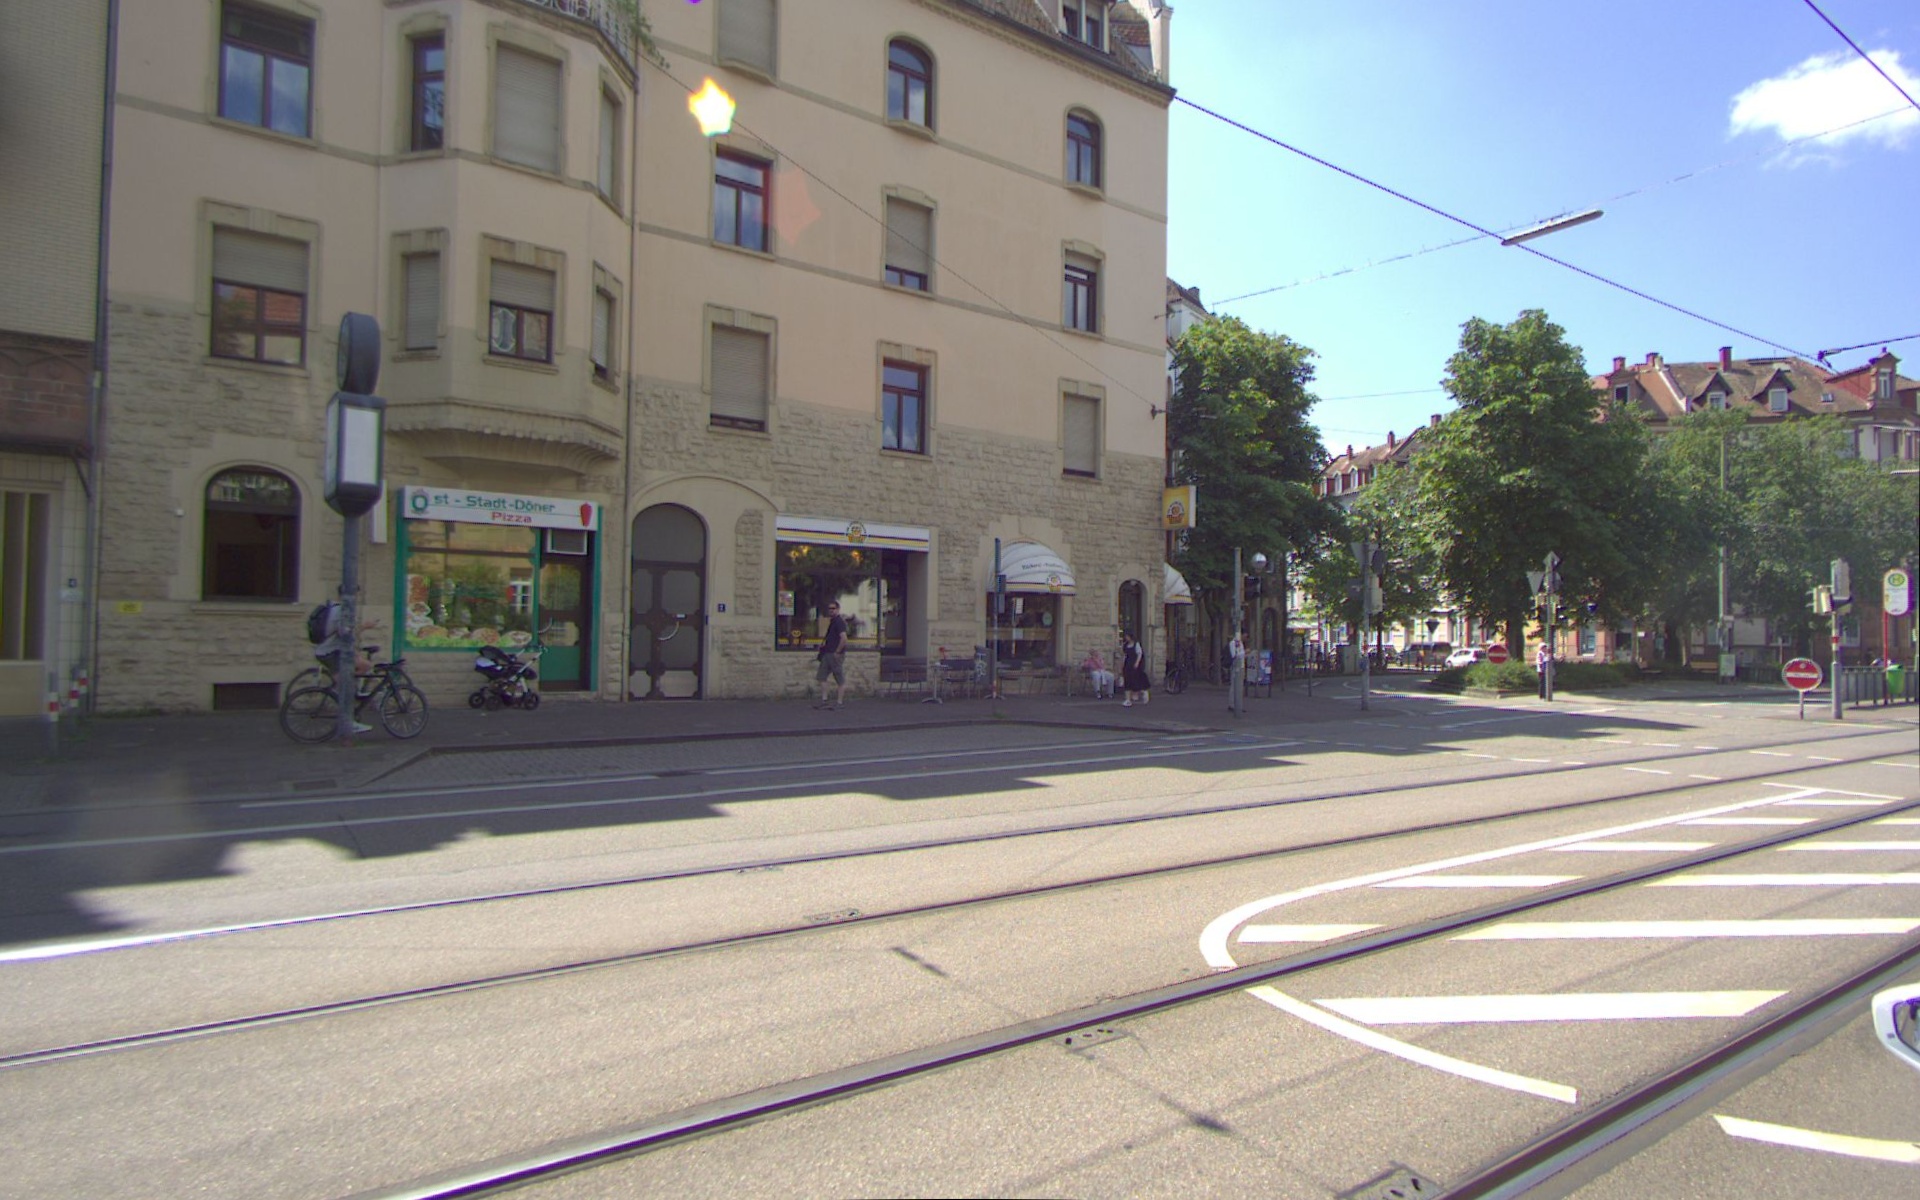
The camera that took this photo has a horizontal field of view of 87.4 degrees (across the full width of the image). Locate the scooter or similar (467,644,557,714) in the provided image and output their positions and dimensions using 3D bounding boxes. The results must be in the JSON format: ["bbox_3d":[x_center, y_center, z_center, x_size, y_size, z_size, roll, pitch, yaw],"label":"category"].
[{"bbox_3d":[-7.297,1.260,16.401,0.682,1.058,1.210,2,-1,16],"label":"scooter or similar"}]

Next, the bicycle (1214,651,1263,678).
[{"bbox_3d":[11.165,2.580,40.257,1.818,1.046,0.545,1,-2,7],"label":"bicycle"}]

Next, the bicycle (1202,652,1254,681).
[{"bbox_3d":[9.959,2.461,37.301,1.819,1.046,0.545,0,-2,17],"label":"bicycle"}]

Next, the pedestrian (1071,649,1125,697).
[{"bbox_3d":[3.218,1.693,23.477,0.873,1.091,0.911,2,-2,-32],"label":"pedestrian"}]

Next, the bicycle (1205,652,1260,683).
[{"bbox_3d":[9.733,2.418,35.915,1.819,1.046,0.544,1,-2,0],"label":"bicycle"}]

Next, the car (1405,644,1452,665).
[{"bbox_3d":[35.901,4.154,77.017,1.654,1.491,3.467,1,-2,-8],"label":"car"}]

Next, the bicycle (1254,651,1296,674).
[{"bbox_3d":[15.027,2.963,47.917,1.825,1.046,0.543,-1,-2,35],"label":"bicycle"}]

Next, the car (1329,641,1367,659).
[{"bbox_3d":[34.063,4.387,88.233,1.654,1.491,3.467,1,-2,-8],"label":"car"}]

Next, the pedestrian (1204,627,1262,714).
[{"bbox_3d":[5.724,1.459,21.103,0.767,1.755,0.855,2,-1,-31],"label":"pedestrian"}]

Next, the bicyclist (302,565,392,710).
[{"bbox_3d":[-7.471,0.448,12.234,0.822,1.685,0.751,3,0,-34],"label":"bicyclist"}]

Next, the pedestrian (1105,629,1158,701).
[{"bbox_3d":[3.977,1.498,23.332,0.910,1.615,0.801,2,-2,-35],"label":"pedestrian"}]

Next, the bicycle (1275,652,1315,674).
[{"bbox_3d":[16.650,3.125,49.905,1.825,1.046,0.543,-1,-2,35],"label":"bicycle"}]

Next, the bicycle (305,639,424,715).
[{"bbox_3d":[-8.907,1.152,15.050,1.439,1.079,0.370,3,-1,-10],"label":"bicycle"}]

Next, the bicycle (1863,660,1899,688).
[{"bbox_3d":[37.438,3.008,40.827,1.698,1.116,0.724,2,-3,-35],"label":"bicycle"}]

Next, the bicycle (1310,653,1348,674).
[{"bbox_3d":[19.371,3.330,52.710,1.825,1.046,0.543,-1,-2,35],"label":"bicycle"}]

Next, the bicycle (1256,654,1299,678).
[{"bbox_3d":[14.607,3.010,46.246,1.825,1.046,0.543,-1,-3,36],"label":"bicycle"}]

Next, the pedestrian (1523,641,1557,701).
[{"bbox_3d":[17.340,2.099,30.057,0.825,1.745,0.918,0,-2,26],"label":"pedestrian"}]

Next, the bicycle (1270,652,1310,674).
[{"bbox_3d":[16.144,3.081,49.165,1.825,1.046,0.543,-1,-2,35],"label":"bicycle"}]

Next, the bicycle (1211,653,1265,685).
[{"bbox_3d":[9.560,2.377,34.530,1.697,1.046,0.544,1,-2,0],"label":"bicycle"}]

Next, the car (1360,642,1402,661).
[{"bbox_3d":[34.859,4.286,83.302,1.654,1.491,3.467,1,-2,-8],"label":"car"}]

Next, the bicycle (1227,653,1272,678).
[{"bbox_3d":[12.781,2.897,44.411,1.825,1.046,0.543,-1,-3,35],"label":"bicycle"}]

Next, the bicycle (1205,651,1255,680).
[{"bbox_3d":[10.230,2.492,38.080,1.818,1.046,0.545,0,-2,16],"label":"bicycle"}]

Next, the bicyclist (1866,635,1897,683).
[{"bbox_3d":[37.397,2.394,40.774,0.816,1.894,0.718,2,-2,-33],"label":"bicyclist"}]

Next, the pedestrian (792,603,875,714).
[{"bbox_3d":[-2.300,1.043,18.242,1.153,1.916,0.895,2,-1,-34],"label":"pedestrian"}]

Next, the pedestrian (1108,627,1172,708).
[{"bbox_3d":[3.847,1.436,21.493,1.017,1.657,0.853,2,-1,-38],"label":"pedestrian"}]

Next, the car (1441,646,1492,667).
[{"bbox_3d":[36.851,4.093,73.186,1.654,1.491,3.467,1,-2,-8],"label":"car"}]

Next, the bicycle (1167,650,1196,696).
[{"bbox_3d":[5.718,1.878,25.896,0.533,1.143,1.684,0,-4,19],"label":"bicycle"}]

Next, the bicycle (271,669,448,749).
[{"bbox_3d":[-7.405,1.314,12.419,1.802,0.828,0.747,3,3,-35],"label":"bicycle"}]

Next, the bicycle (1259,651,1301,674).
[{"bbox_3d":[15.409,2.990,48.408,1.825,1.046,0.543,-1,-2,35],"label":"bicycle"}]

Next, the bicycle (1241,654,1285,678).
[{"bbox_3d":[13.608,2.958,45.151,1.825,1.046,0.543,-1,-3,36],"label":"bicycle"}]

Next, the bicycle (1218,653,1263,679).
[{"bbox_3d":[12.195,2.851,43.664,1.825,1.046,0.543,-1,-3,36],"label":"bicycle"}]
